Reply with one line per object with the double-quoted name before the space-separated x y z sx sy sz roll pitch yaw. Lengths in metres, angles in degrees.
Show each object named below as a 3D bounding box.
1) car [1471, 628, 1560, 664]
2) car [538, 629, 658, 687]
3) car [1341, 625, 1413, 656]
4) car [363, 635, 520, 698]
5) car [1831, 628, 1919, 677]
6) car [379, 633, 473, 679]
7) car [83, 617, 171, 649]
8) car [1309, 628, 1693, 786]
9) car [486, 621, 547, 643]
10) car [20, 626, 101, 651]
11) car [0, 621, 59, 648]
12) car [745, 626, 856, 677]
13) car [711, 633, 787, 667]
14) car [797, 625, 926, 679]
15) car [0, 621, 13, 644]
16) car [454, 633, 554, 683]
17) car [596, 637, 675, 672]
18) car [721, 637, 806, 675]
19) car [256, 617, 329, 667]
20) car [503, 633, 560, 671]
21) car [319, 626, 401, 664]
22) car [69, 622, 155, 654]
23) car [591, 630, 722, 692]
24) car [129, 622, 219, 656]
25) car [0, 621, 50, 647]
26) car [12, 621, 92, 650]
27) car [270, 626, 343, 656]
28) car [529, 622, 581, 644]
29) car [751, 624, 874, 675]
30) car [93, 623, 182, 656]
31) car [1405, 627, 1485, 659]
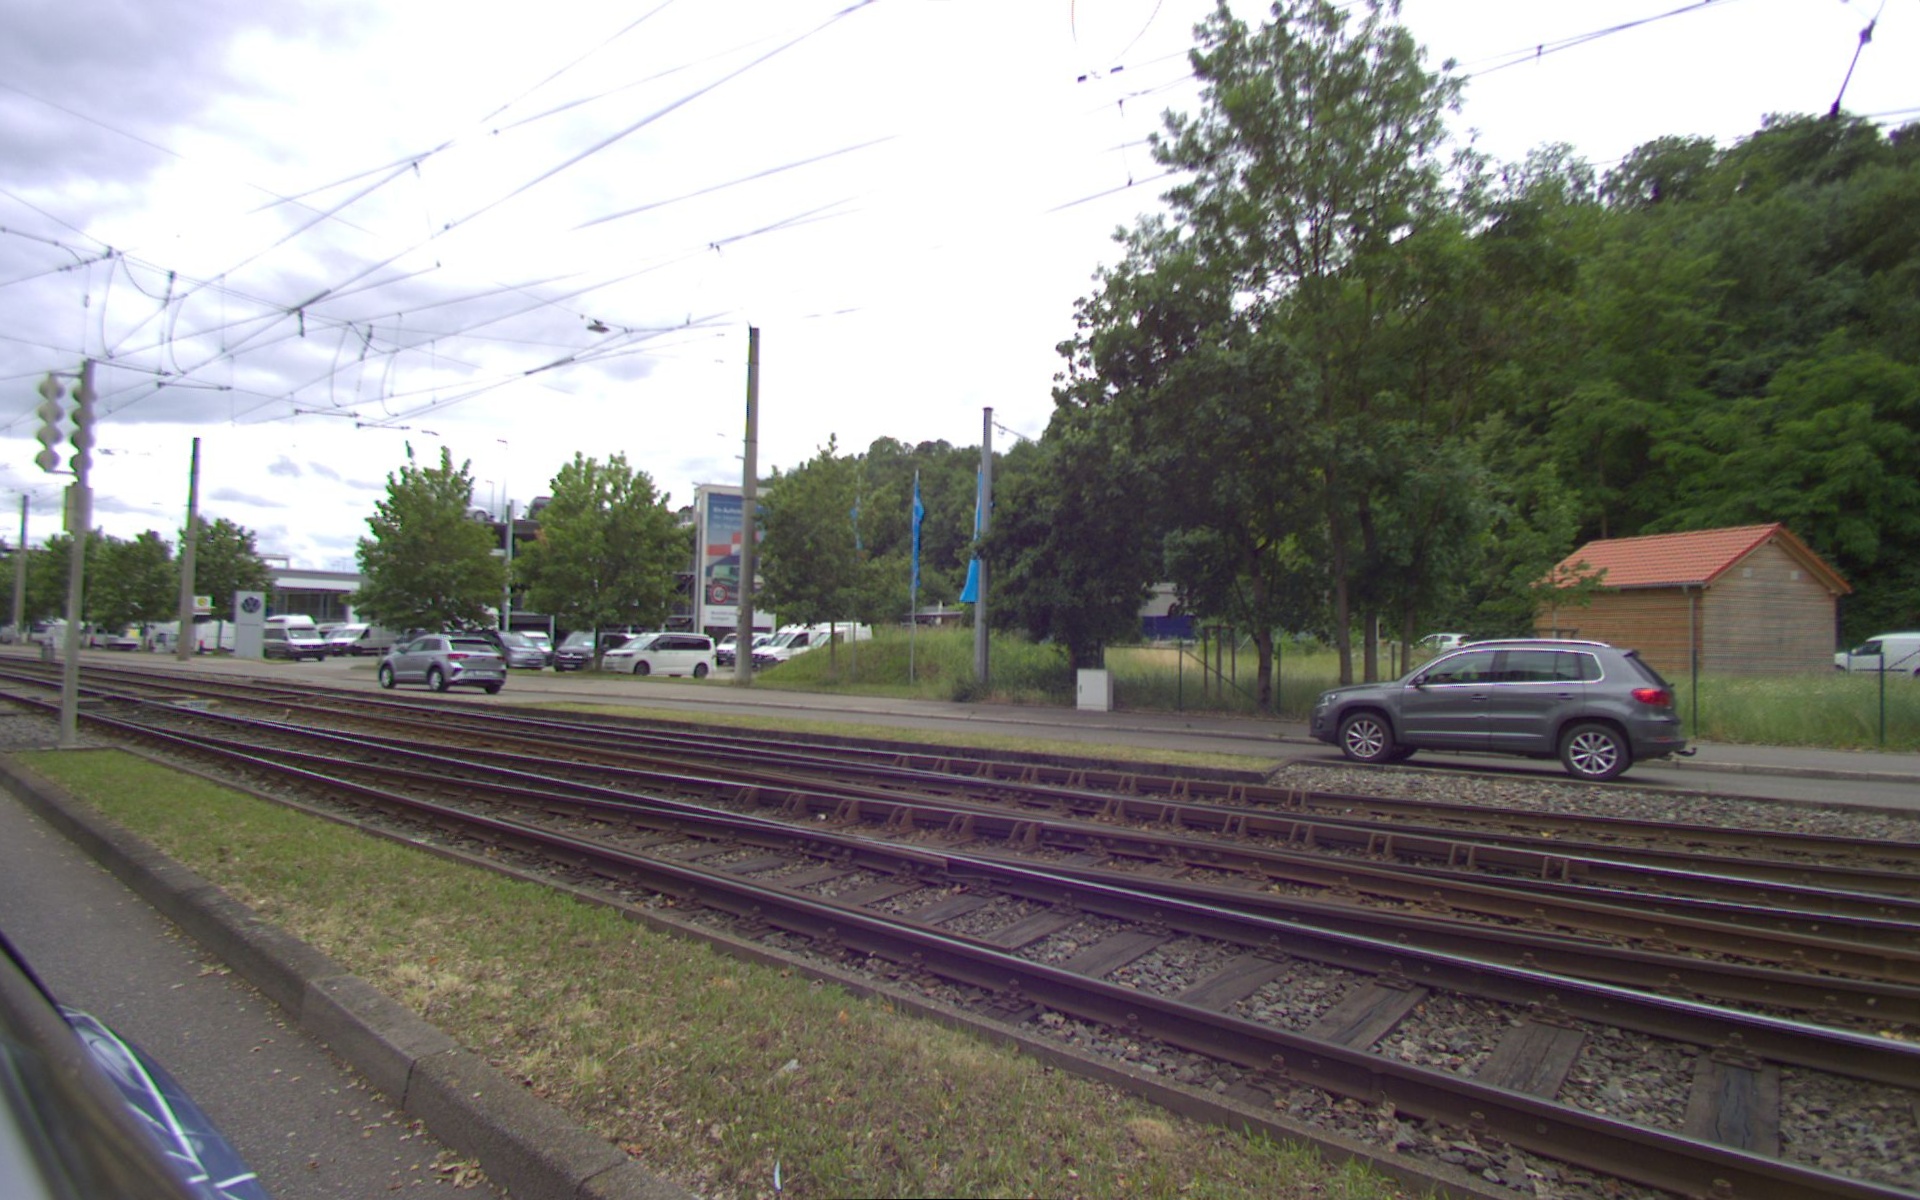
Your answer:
"car" 28.189 2.301 51.440 1.727 1.625 3.693 -1 0 -22
"car" -16.019 2.504 45.025 1.977 2.284 4.717 -1 0 37
"car" 24.482 2.347 59.466 1.727 1.625 3.693 -1 0 -25
"car" -14.255 1.795 27.805 4.164 1.590 1.978 -1 -3 32
"car" 34.190 1.868 36.537 1.877 1.625 3.693 -1 0 -22
"car" -27.041 2.769 51.216 4.761 2.132 2.119 -1 0 32
"car" -61.474 2.391 74.755 2.102 2.225 4.589 -1 0 32
"car" 6.914 1.299 13.156 4.130 1.731 1.882 -2 -5 38
"car" -41.802 2.974 95.394 5.138 1.850 1.986 -1 0 -29
"car" -73.580 3.105 82.871 2.102 1.854 4.589 -1 0 32
"car" -83.590 3.049 90.158 2.102 2.225 4.589 -1 0 32
"car" -8.532 2.718 54.365 5.568 2.479 1.986 -1 0 -31
"car" -12.973 3.058 62.229 4.165 1.850 1.986 -1 0 -31
"car" -4.690 2.416 48.375 5.762 2.284 2.060 -1 0 -28
"car" -94.068 3.185 96.873 2.102 2.225 4.589 -1 0 32
"car" -21.583 2.692 47.858 4.763 2.132 2.118 -1 0 34
"car" -19.418 3.209 60.628 4.165 1.850 1.986 -1 0 -31
"car" -10.909 3.063 56.267 4.165 1.850 1.986 -1 0 -31
"car" -43.171 2.660 65.426 6.154 3.034 2.291 -1 0 40
"car" -24.507 2.930 57.824 1.872 1.907 4.606 -1 0 -38
"car" -46.466 3.434 78.534 2.293 2.642 6.036 -1 0 6
"car" -63.875 2.844 76.289 2.102 2.225 4.589 -1 0 32
"car" -12.833 2.525 43.118 1.997 2.284 5.206 -1 0 37
"car" -54.948 2.693 70.817 2.102 2.225 4.589 -1 0 32
"car" -85.613 3.075 91.533 2.102 2.225 4.589 -1 0 32
"car" -75.545 2.945 84.274 2.102 2.225 4.589 -1 0 32
"car" -53.652 3.319 83.137 2.107 2.225 4.579 -1 0 39
"car" -36.847 2.960 92.158 4.164 1.850 1.986 -1 0 -29
"car" -7.413 2.451 51.053 5.751 2.284 2.060 -1 0 -28
"car" -59.492 2.818 73.306 2.102 2.225 4.589 -1 0 32
"car" 26.493 2.322 55.395 1.727 1.625 3.693 -1 0 -25
